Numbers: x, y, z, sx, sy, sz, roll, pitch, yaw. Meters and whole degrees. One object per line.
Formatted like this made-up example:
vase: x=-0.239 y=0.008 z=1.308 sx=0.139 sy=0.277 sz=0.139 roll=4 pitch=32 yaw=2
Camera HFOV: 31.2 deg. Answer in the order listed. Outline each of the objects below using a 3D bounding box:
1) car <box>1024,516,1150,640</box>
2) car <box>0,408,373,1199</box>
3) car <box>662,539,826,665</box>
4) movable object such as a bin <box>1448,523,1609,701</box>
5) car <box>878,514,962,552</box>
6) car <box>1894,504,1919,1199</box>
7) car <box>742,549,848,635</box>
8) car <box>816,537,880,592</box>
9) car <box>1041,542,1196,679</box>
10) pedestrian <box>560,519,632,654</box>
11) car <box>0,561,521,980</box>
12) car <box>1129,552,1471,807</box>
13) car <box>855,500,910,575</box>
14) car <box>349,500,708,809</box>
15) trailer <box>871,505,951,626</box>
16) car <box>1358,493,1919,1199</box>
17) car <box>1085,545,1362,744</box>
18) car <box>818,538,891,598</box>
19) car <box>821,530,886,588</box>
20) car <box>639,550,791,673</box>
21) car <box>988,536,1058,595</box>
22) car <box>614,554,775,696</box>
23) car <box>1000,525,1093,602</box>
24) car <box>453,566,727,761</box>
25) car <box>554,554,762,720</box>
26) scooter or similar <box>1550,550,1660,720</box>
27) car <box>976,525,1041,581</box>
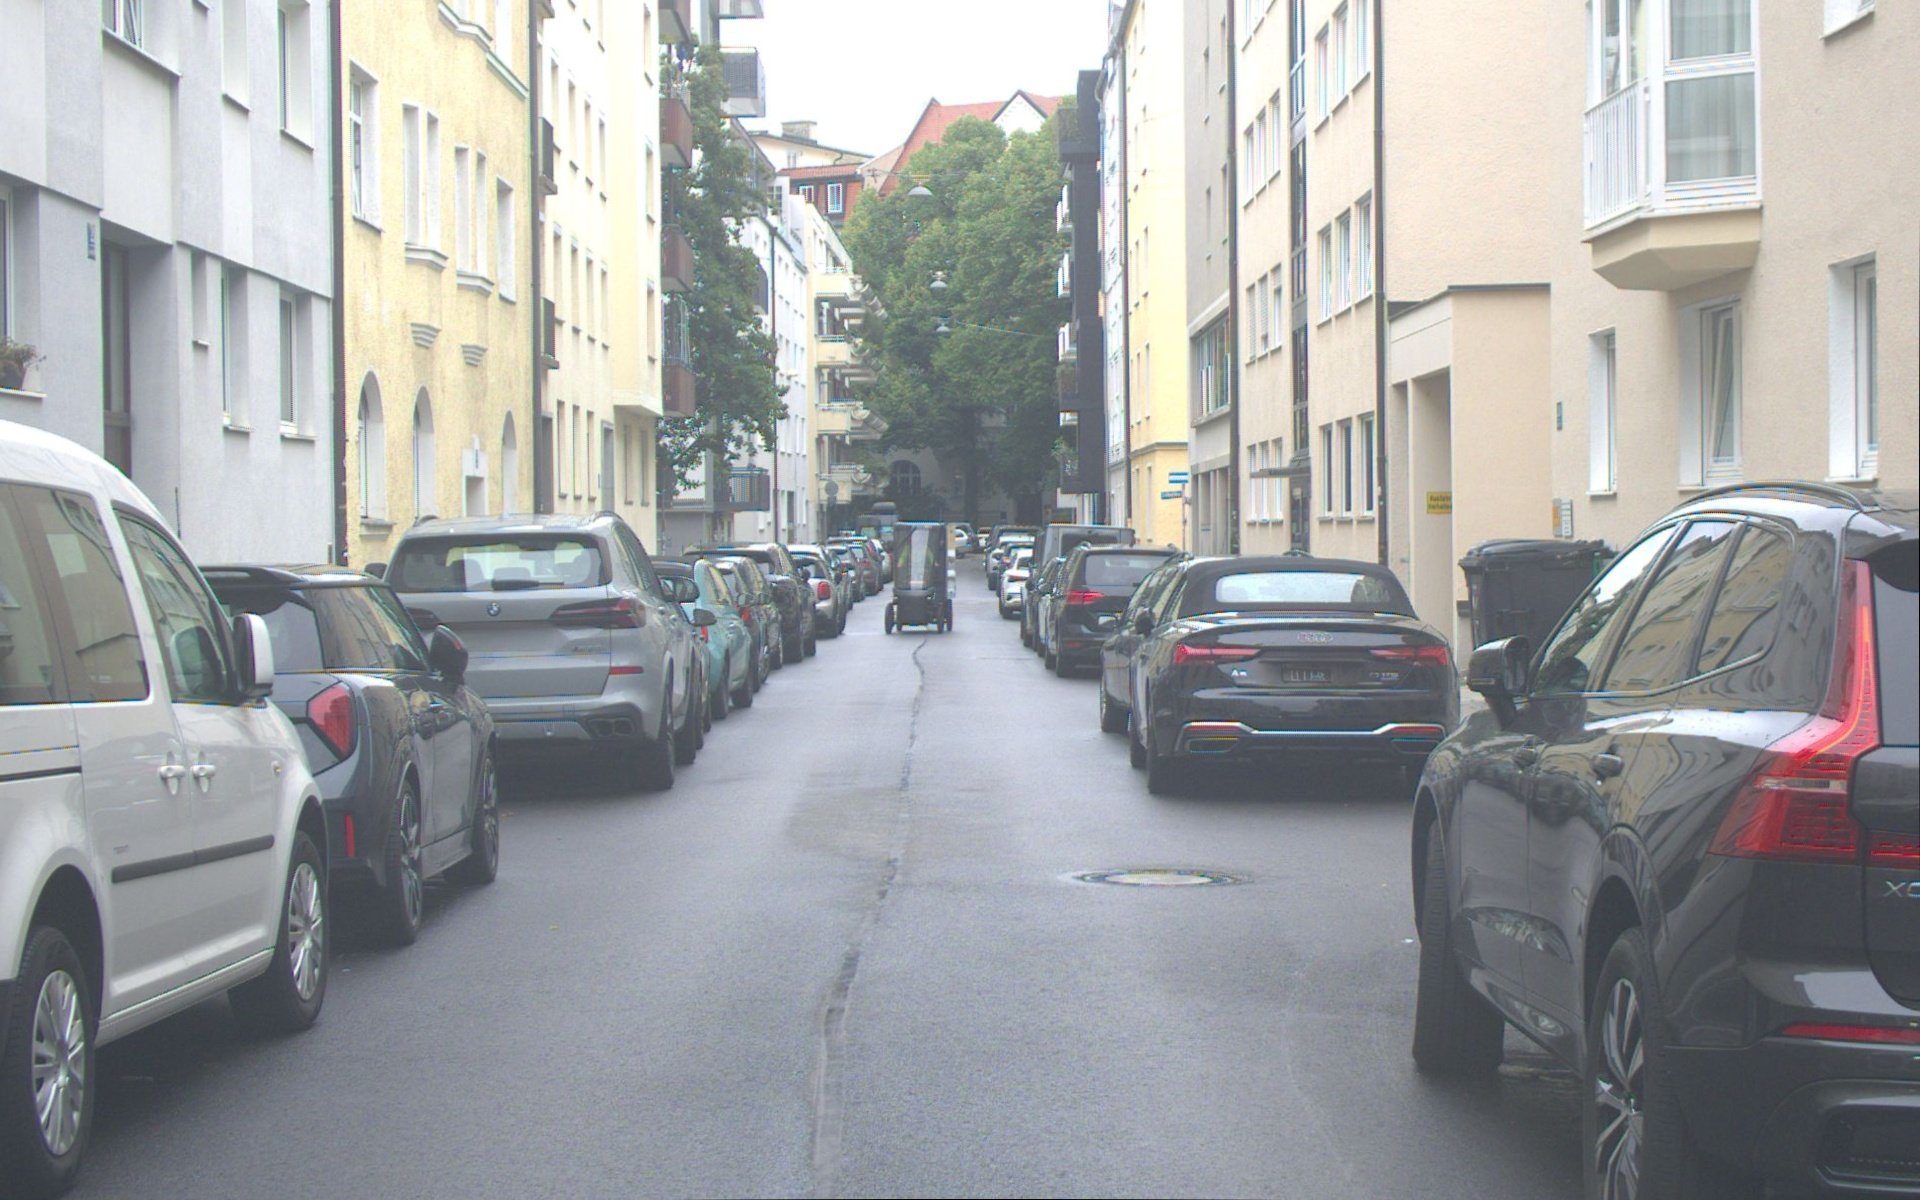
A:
car: x=2.125 y=-0.414 z=58.473 sx=1.750 sy=1.968 sz=4.343 roll=2 pitch=1 yaw=-2
car: x=-2.855 y=0.493 z=9.080 sx=1.724 sy=1.783 sz=4.249 roll=-2 pitch=1 yaw=1
car: x=-2.983 y=-0.010 z=48.306 sx=1.879 sy=1.654 sz=4.414 roll=-1 pitch=1 yaw=1
movable object such as a bin: x=4.760 y=0.092 z=28.901 sx=1.032 sy=1.418 sz=1.587 roll=-2 pitch=0 yaw=0
car: x=-1.906 y=-3.201 z=163.456 sx=3.885 sy=1.579 sz=1.648 roll=-3 pitch=1 yaw=-1
car: x=2.303 y=0.713 z=2.787 sx=1.832 sy=1.616 sz=4.324 roll=1 pitch=1 yaw=-1
car: x=-2.876 y=-0.171 z=60.499 sx=1.652 sy=1.431 sz=3.803 roll=-1 pitch=1 yaw=0
car: x=-3.117 y=-1.013 z=96.190 sx=1.693 sy=1.437 sz=3.978 roll=-2 pitch=1 yaw=-1
car: x=1.939 y=0.101 z=43.034 sx=1.711 sy=1.602 sz=4.244 roll=1 pitch=1 yaw=0
pedestrian: x=-4.822 y=-0.183 z=45.637 sx=0.839 sy=1.758 sz=1.068 roll=0 pitch=1 yaw=0
car: x=-2.845 y=0.602 z=13.906 sx=1.652 sy=1.406 sz=3.735 roll=-2 pitch=0 yaw=-1
car: x=2.014 y=0.422 z=21.487 sx=1.833 sy=1.401 sz=4.411 roll=1 pitch=1 yaw=2
car: x=-3.033 y=-2.476 z=135.011 sx=1.936 sy=2.792 sz=4.533 roll=-3 pitch=1 yaw=0
car: x=-2.740 y=0.297 z=22.844 sx=1.862 sy=1.764 sz=4.736 roll=-2 pitch=1 yaw=-2
trailer: x=-0.867 y=-0.619 z=62.343 sx=1.355 sy=2.108 sz=3.318 roll=-1 pitch=0 yaw=0
car: x=2.162 y=0.613 z=8.093 sx=1.832 sy=1.616 sz=4.411 roll=1 pitch=1 yaw=-1
car: x=2.049 y=0.306 z=27.893 sx=1.716 sy=1.466 sz=4.532 roll=1 pitch=1 yaw=-2
car: x=-2.691 y=-0.836 z=88.514 sx=1.693 sy=1.437 sz=3.942 roll=-2 pitch=1 yaw=1
car: x=-3.141 y=-1.223 z=102.071 sx=1.777 sy=1.623 sz=4.415 roll=-2 pitch=1 yaw=0
car: x=-3.067 y=0.110 z=43.497 sx=1.563 sy=1.455 sz=3.475 roll=-1 pitch=1 yaw=1
car: x=1.682 y=-0.950 z=93.338 sx=1.751 sy=1.464 sz=4.343 roll=2 pitch=1 yaw=0
car: x=-2.910 y=0.240 z=38.301 sx=1.563 sy=1.455 sz=3.764 roll=-1 pitch=1 yaw=-1
car: x=1.817 y=-0.804 z=73.450 sx=1.819 sy=1.403 sz=3.953 roll=1 pitch=4 yaw=-1
car: x=-2.910 y=0.453 z=27.846 sx=1.811 sy=1.381 sz=4.251 roll=-2 pitch=1 yaw=-1
car: x=-2.814 y=0.314 z=32.637 sx=1.563 sy=1.455 sz=3.404 roll=-1 pitch=1 yaw=2
scooter or similar: x=4.966 y=0.260 z=26.500 sx=0.576 sy=1.262 sz=1.136 roll=-2 pitch=1 yaw=0
car: x=1.436 y=-1.435 z=103.524 sx=1.682 sy=1.562 sz=4.416 roll=2 pitch=1 yaw=-2
